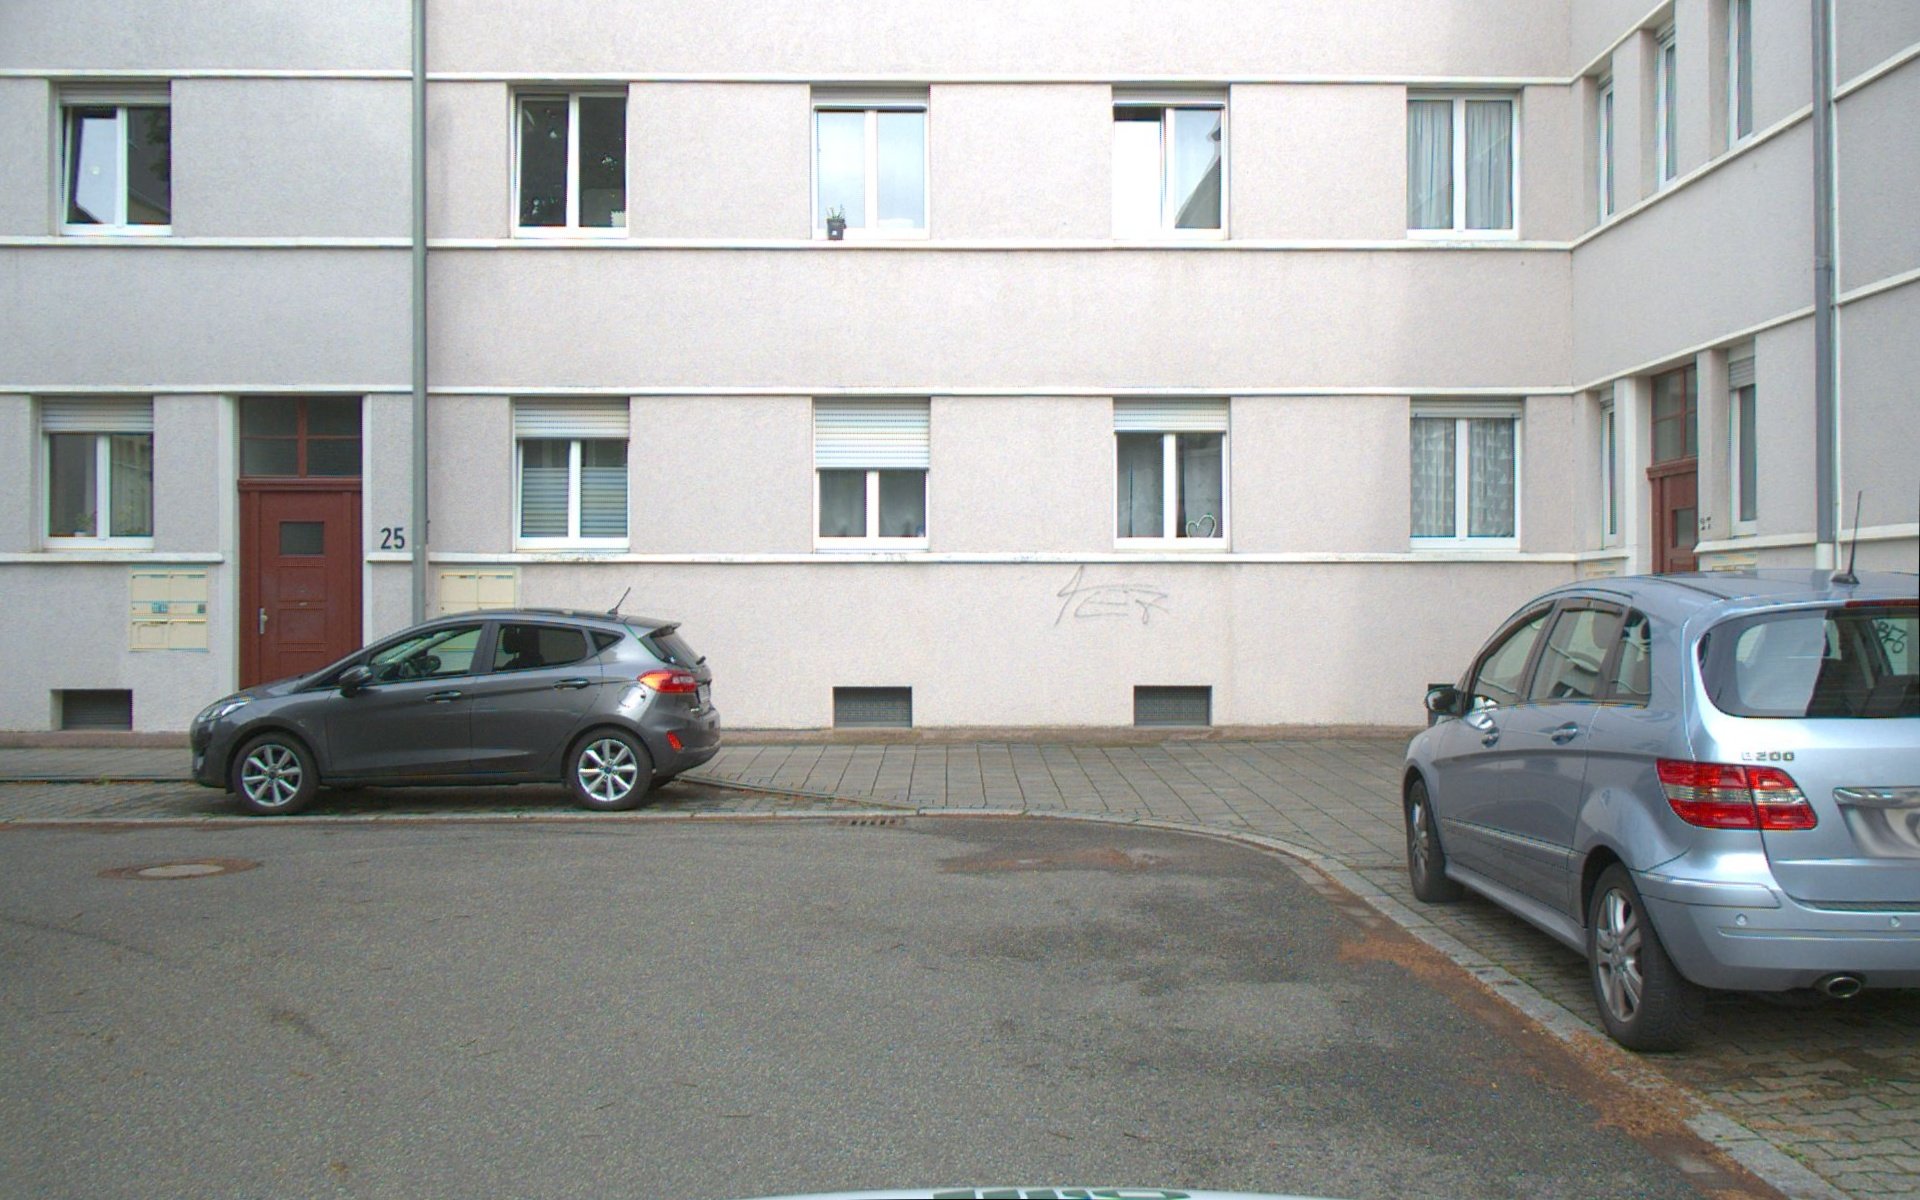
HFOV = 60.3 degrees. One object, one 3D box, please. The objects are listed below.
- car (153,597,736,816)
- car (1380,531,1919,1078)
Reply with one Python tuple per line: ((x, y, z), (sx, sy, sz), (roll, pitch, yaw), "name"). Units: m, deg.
((-3.835, 0.776, 12.845), (3.984, 1.552, 1.762), (0, 1, -2), "car")
((3.122, 0.642, 7.105), (1.720, 1.656, 4.201), (0, -1, 2), "car")
